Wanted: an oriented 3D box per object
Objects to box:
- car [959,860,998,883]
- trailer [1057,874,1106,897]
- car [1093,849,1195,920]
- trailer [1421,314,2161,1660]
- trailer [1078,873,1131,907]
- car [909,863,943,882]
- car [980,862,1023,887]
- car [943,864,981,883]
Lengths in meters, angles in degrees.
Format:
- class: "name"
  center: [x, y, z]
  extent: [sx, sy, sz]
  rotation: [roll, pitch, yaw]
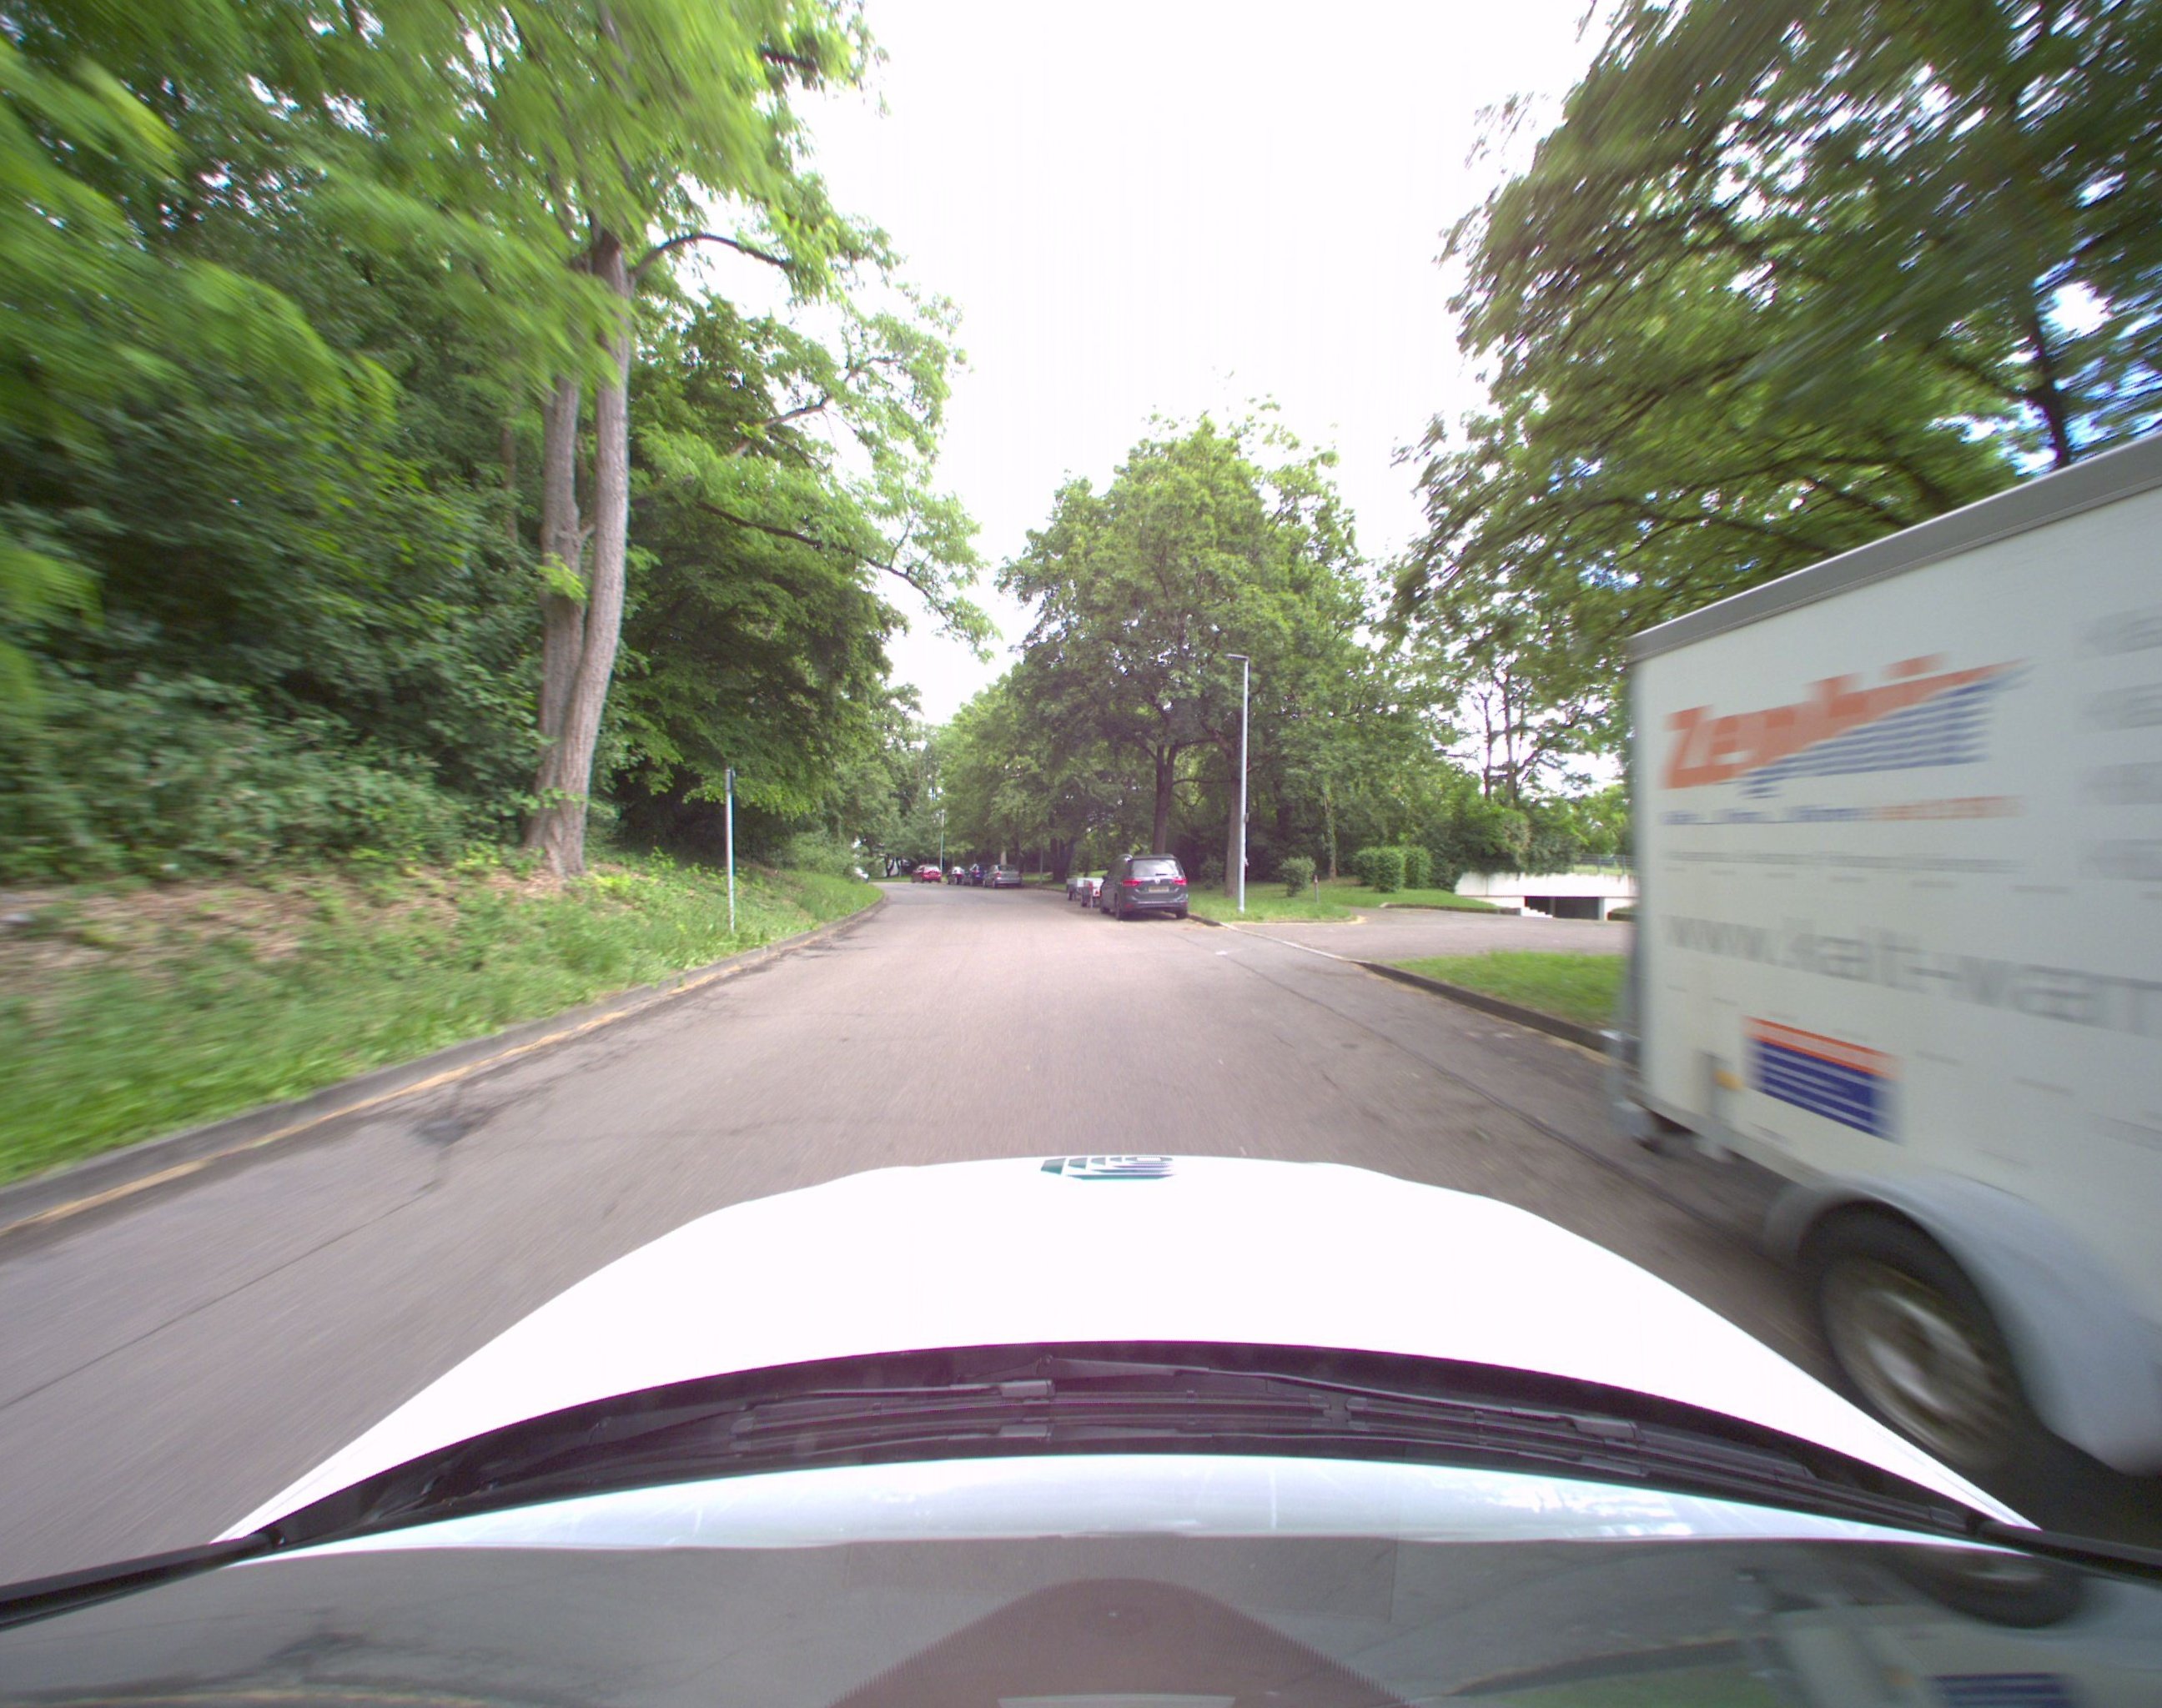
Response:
- class: "car"
  center: [-7.106, 1.225, 56.105]
  extent: [1.720, 1.510, 4.151]
  rotation: [2, -2, -20]
- class: "trailer"
  center: [-0.022, 1.245, 32.608]
  extent: [1.364, 0.848, 3.266]
  rotation: [1, -2, -11]
- class: "car"
  center: [1.548, 0.772, 21.857]
  extent: [1.774, 1.662, 4.828]
  rotation: [1, -1, -7]
- class: "trailer"
  center: [2.826, 0.241, 2.681]
  extent: [1.755, 2.427, 3.886]
  rotation: [-1, 0, 0]
- class: "trailer"
  center: [0.739, 1.205, 27.885]
  extent: [1.355, 0.969, 3.885]
  rotation: [1, 0, -5]
- class: "car"
  center: [-13.408, 1.611, 70.270]
  extent: [1.748, 1.562, 3.963]
  rotation: [0, -2, -28]
- class: "car"
  center: [-4.934, 1.263, 49.847]
  extent: [1.723, 1.431, 3.922]
  rotation: [-1, -1, -19]
- class: "car"
  center: [-8.886, 1.429, 60.491]
  extent: [1.758, 1.337, 4.380]
  rotation: [0, -1, -24]
